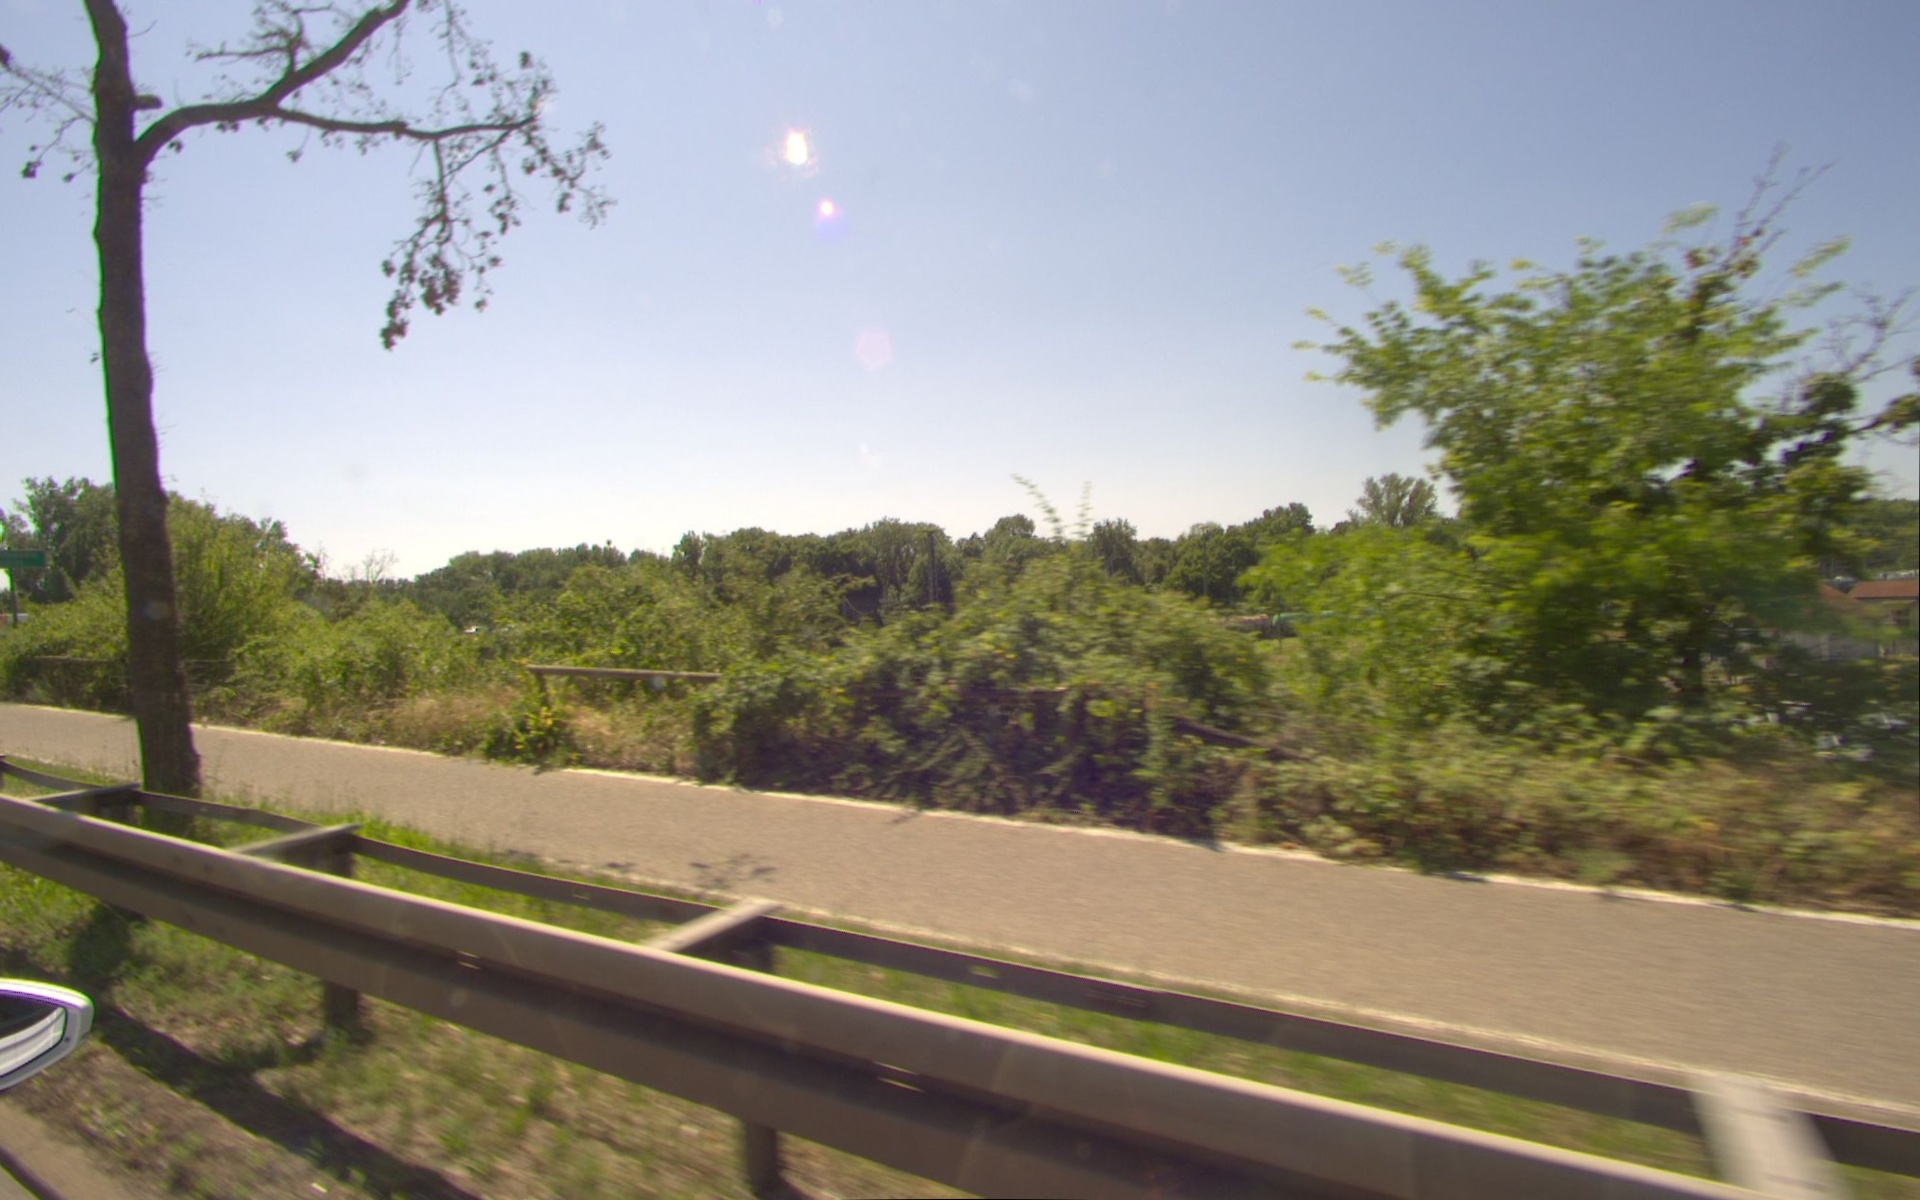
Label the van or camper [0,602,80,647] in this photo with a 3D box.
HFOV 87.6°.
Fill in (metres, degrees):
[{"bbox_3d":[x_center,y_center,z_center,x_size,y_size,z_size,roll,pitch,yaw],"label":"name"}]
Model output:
[{"bbox_3d":[-59.124,1.564,64.280,2.174,2.746,5.907,0,-1,-23],"label":"van or camper"}]
